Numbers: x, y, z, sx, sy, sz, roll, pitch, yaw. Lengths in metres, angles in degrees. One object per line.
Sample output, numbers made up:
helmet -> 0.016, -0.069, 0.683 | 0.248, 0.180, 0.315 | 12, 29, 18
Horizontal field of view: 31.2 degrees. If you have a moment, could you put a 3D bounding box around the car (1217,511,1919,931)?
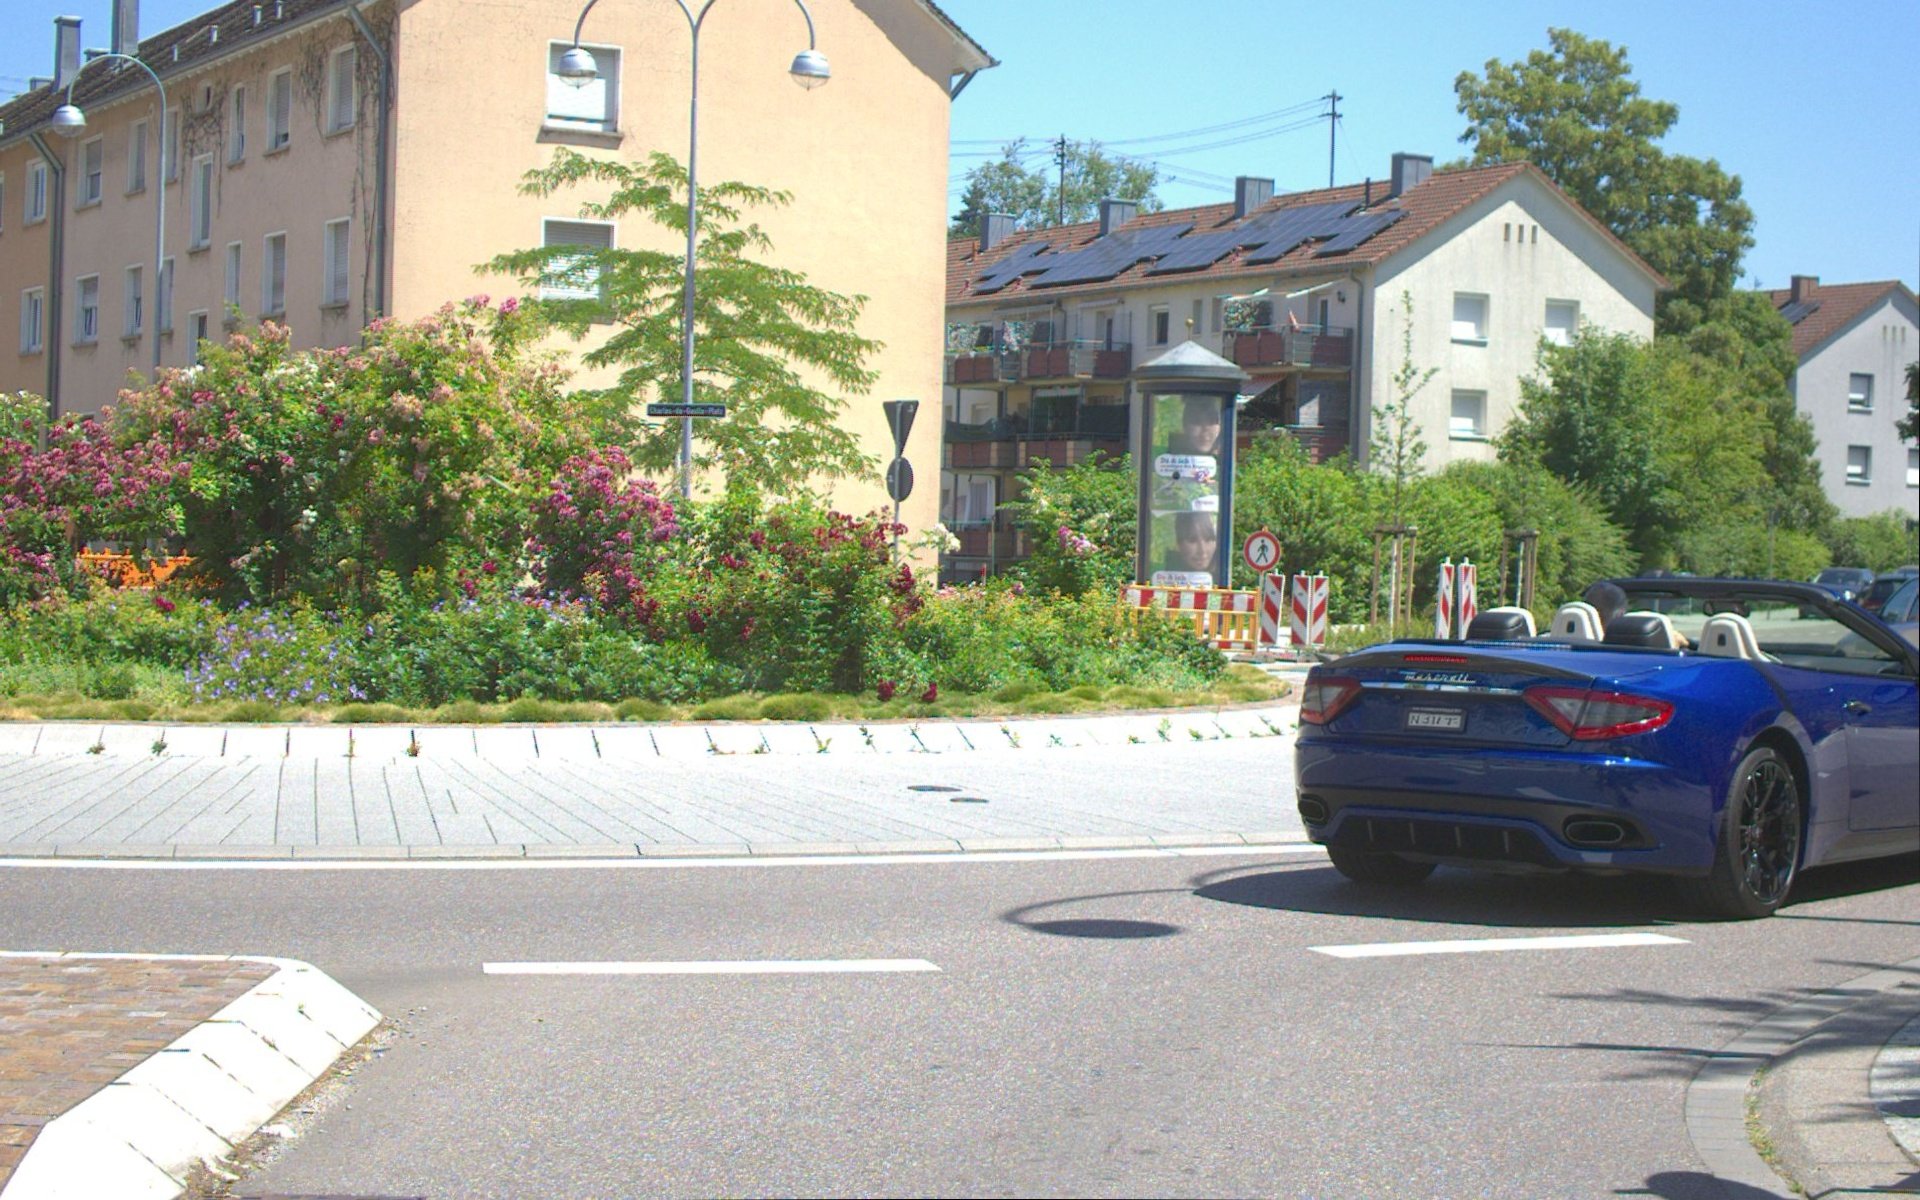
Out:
car -> 3.124, 0.525, 14.898 | 1.875, 1.525, 4.497 | 1, -2, 36

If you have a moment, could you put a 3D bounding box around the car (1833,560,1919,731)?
car -> 8.919, 0.372, 29.898 | 1.738, 1.431, 3.711 | 0, 1, 1

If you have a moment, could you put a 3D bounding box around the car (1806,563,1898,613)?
car -> 26.293, -0.363, 101.296 | 1.741, 1.431, 3.704 | 0, 1, 29
